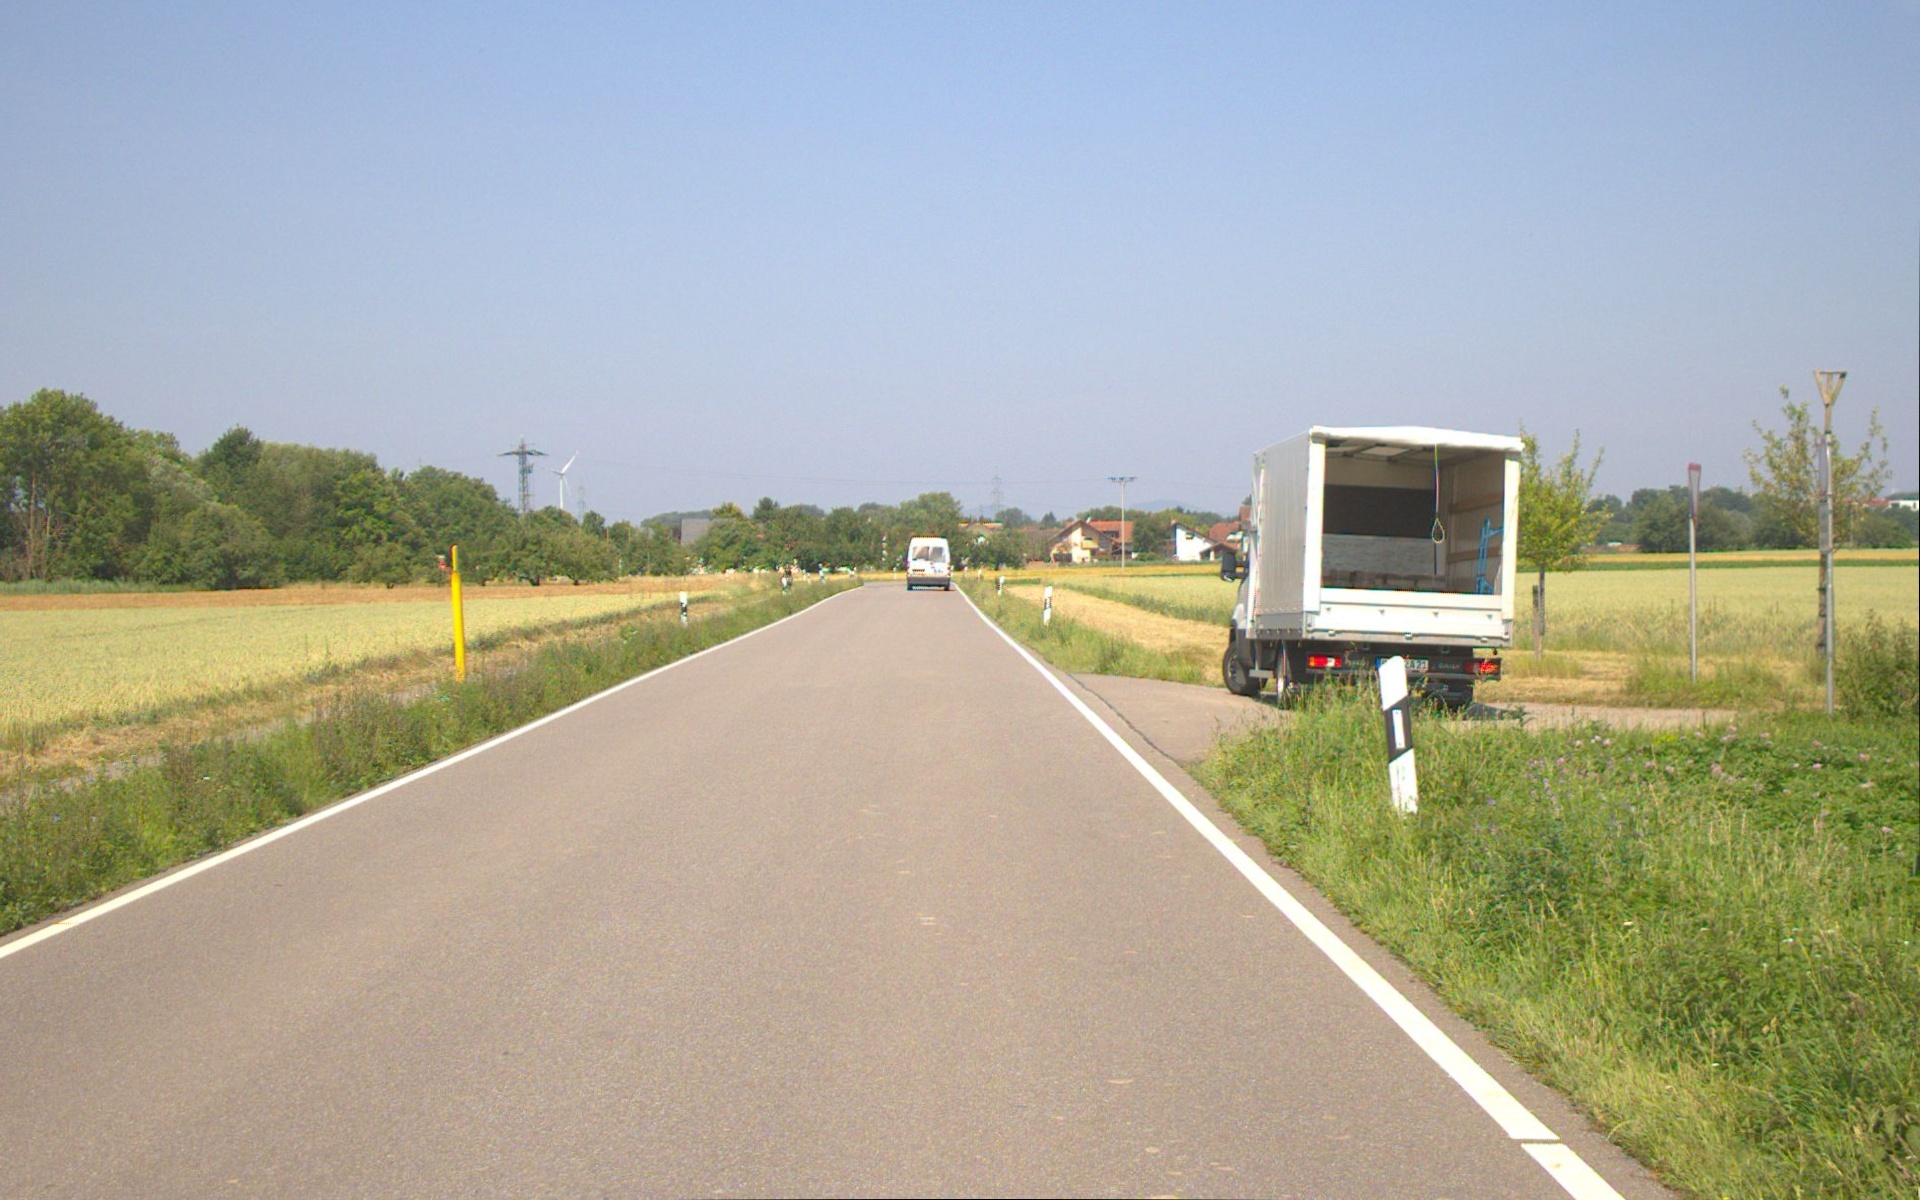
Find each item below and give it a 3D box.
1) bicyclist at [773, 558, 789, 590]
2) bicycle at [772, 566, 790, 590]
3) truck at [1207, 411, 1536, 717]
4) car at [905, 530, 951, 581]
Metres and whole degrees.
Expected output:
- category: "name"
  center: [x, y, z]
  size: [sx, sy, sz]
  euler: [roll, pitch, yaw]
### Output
- category: "bicyclist"
  center: [-9.461, -1.363, 181.659]
  size: [0.760, 1.667, 1.088]
  euler: [-2, 0, 0]
- category: "bicycle"
  center: [-9.448, -1.151, 181.621]
  size: [0.759, 1.231, 2.394]
  euler: [-3, 1, 0]
- category: "truck"
  center: [4.311, -0.391, 37.436]
  size: [2.335, 2.932, 7.009]
  euler: [2, 1, -3]
- category: "car"
  center: [-1.508, -2.095, 162.569]
  size: [2.107, 2.296, 5.496]
  euler: [1, 1, -1]
